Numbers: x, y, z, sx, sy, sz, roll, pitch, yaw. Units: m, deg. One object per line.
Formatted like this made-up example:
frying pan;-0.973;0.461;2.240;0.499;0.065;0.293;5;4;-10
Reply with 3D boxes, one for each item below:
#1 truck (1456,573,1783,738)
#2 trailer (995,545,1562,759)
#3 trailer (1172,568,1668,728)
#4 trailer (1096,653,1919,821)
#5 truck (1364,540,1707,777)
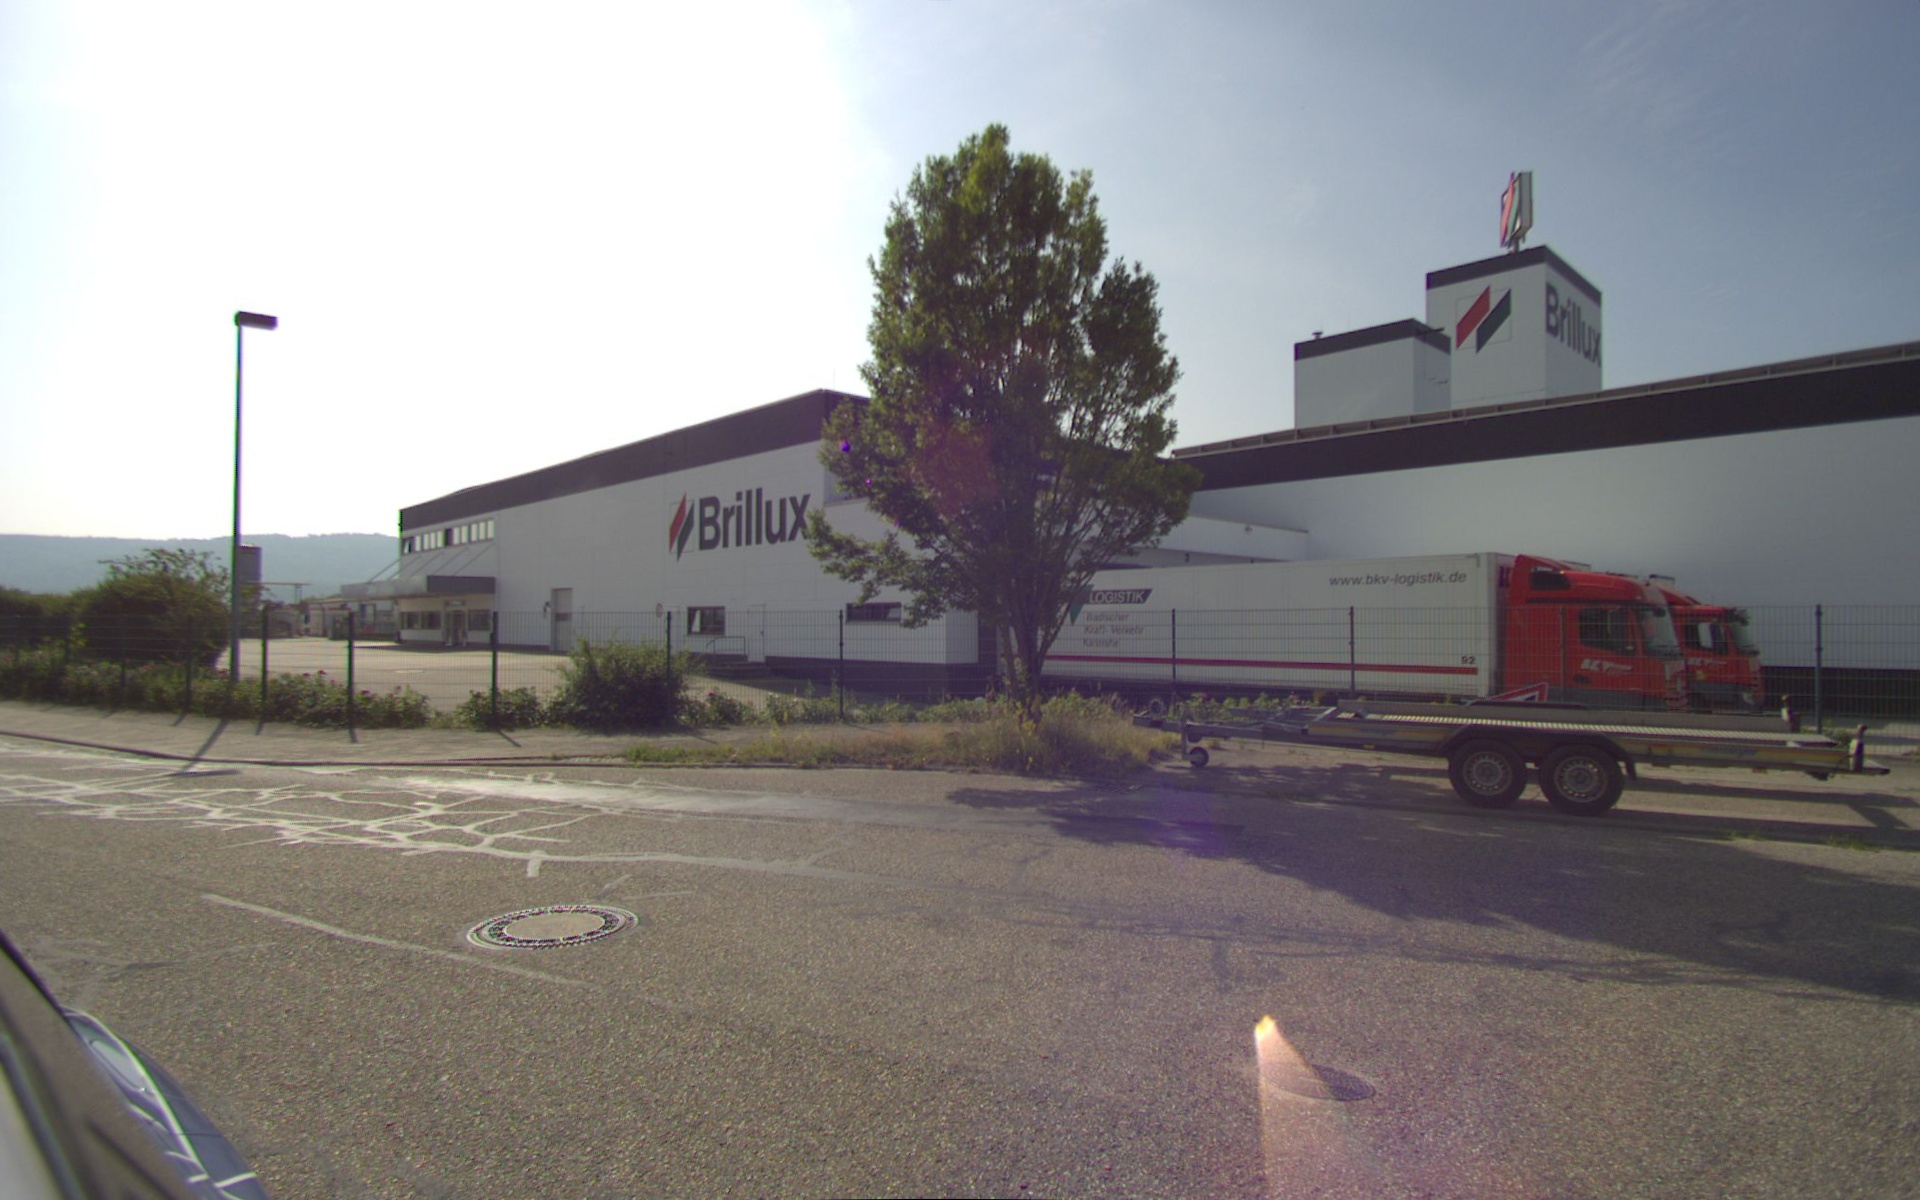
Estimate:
truck;17.559;1.261;27.322;7.017;3.900;2.733;1;1;45
trailer;6.722;0.893;25.031;2.453;4.072;13.899;-1;1;-44
trailer;13.375;1.191;31.588;2.821;4.037;14.021;-1;1;-44
trailer;4.925;1.138;9.930;6.679;0.932;2.531;-1;2;29
truck;11.384;0.962;20.354;5.547;4.101;2.484;1;1;45
